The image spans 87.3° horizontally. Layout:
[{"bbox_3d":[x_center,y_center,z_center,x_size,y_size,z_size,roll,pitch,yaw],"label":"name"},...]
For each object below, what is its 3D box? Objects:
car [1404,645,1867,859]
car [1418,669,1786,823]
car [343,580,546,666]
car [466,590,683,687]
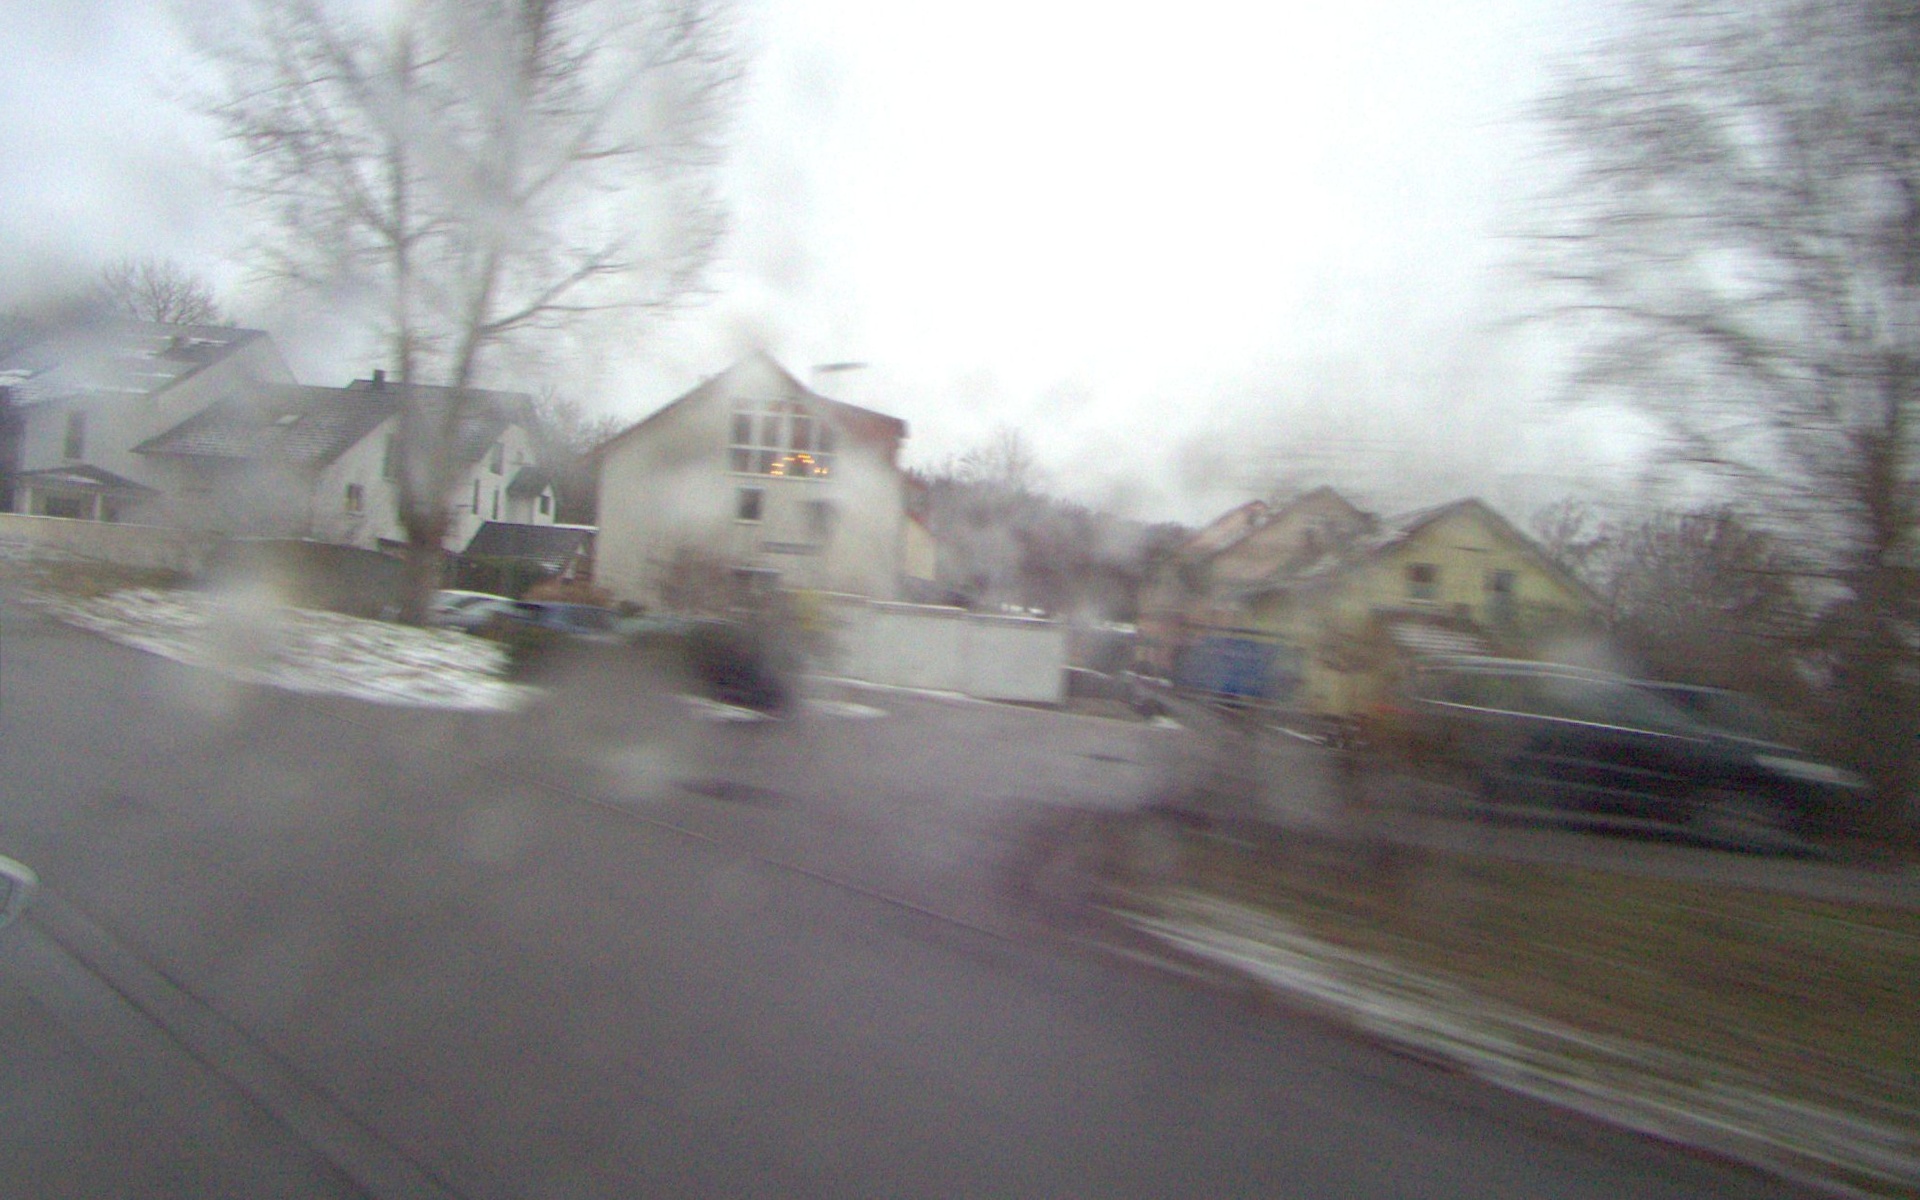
[{"bbox_3d":[6.738,1.436,10.451,3.679,1.702,1.640,2,-3,31],"label":"car"},{"bbox_3d":[7.958,1.748,12.793,3.679,1.490,1.640,2,-3,31],"label":"car"},{"bbox_3d":[-12.027,0.591,23.707,1.772,1.616,3.790,7,-1,28],"label":"car"},{"bbox_3d":[-7.769,0.850,20.607,1.772,1.616,3.790,7,-1,28],"label":"car"}]
